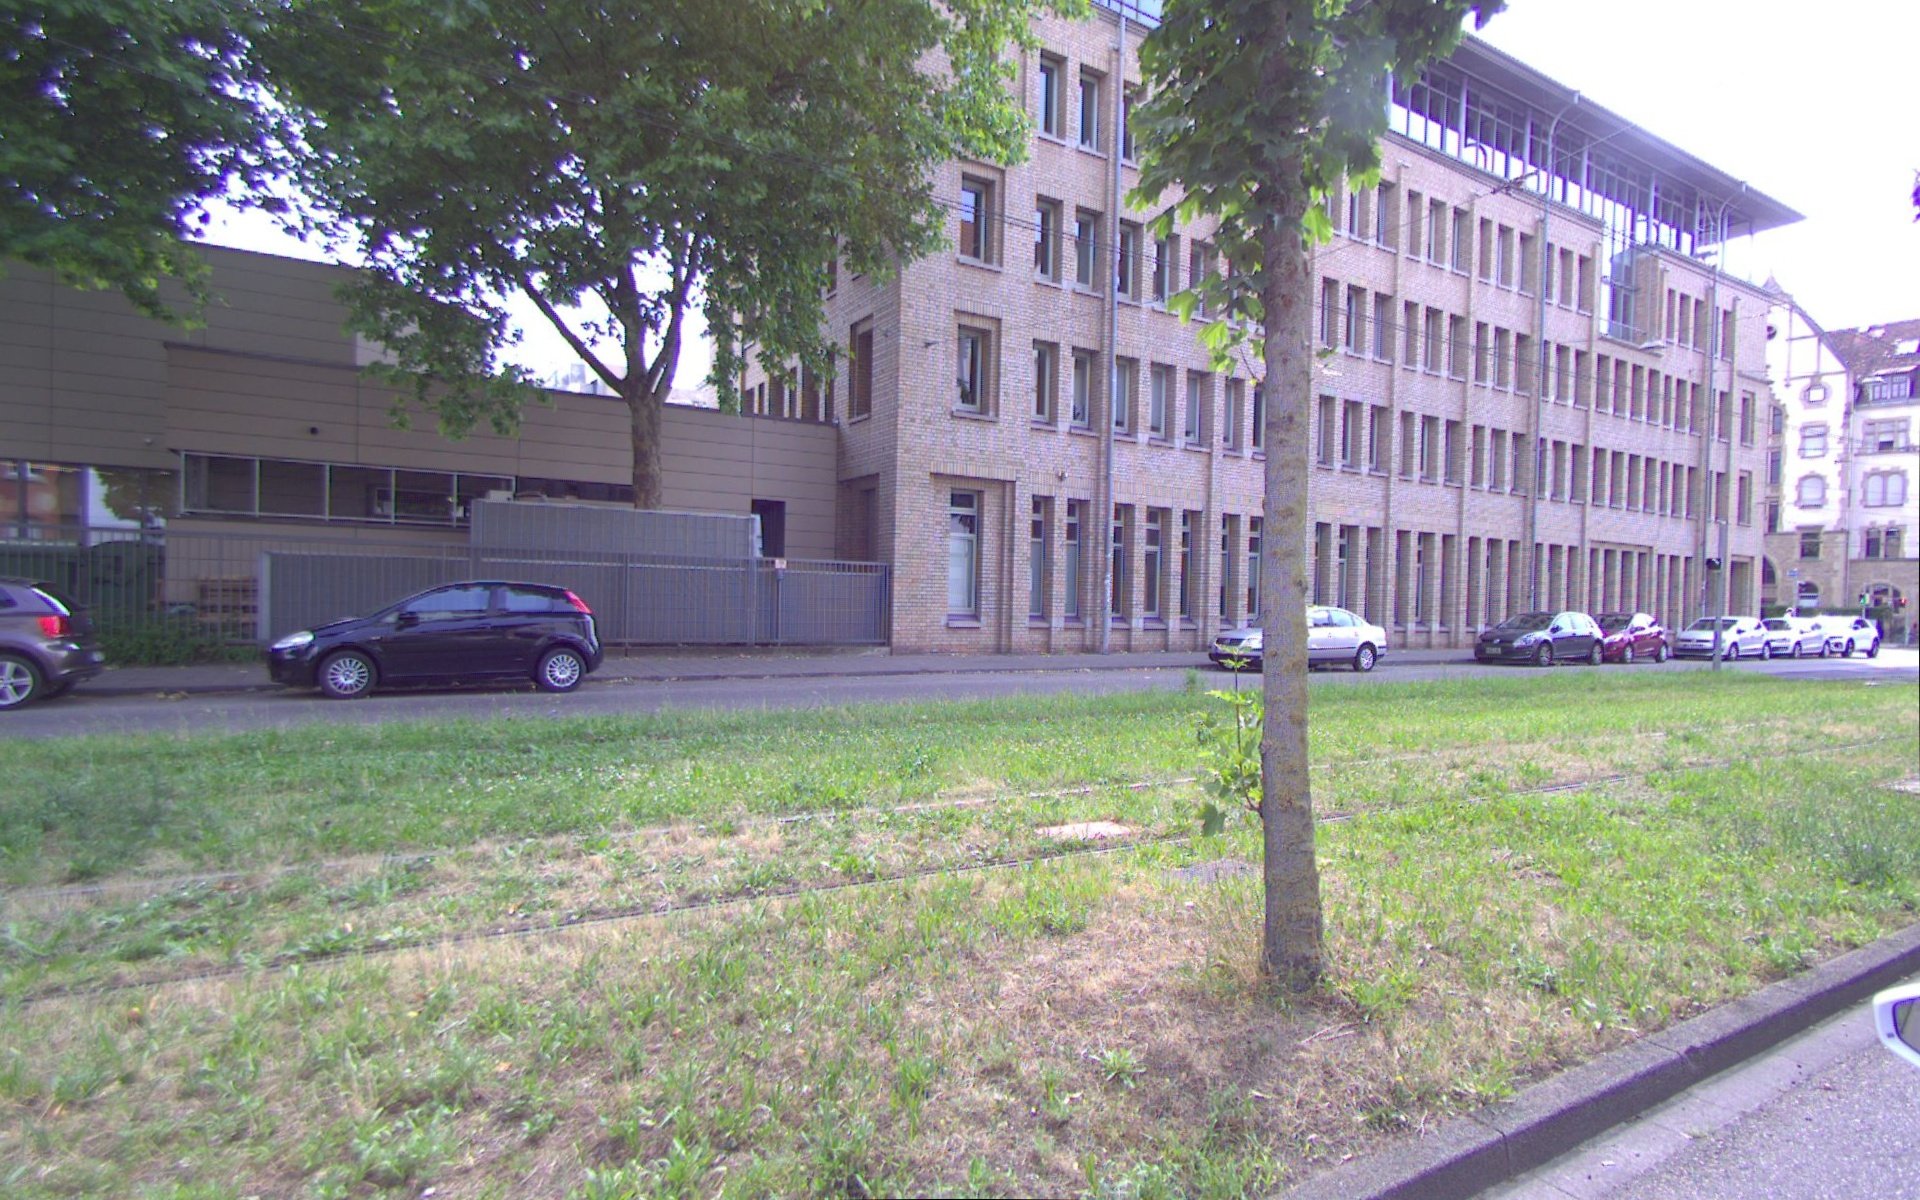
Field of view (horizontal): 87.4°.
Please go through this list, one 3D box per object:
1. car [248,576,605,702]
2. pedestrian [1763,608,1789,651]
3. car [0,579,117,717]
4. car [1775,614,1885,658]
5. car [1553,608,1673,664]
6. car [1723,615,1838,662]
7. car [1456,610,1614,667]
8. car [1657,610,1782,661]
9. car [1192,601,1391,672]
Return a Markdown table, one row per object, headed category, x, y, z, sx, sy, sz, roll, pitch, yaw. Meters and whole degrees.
| category | x | y | z | sx | sy | sz | roll | pitch | yaw |
| --- | --- | --- | --- | --- | --- | --- | --- | --- | --- |
| car | -6.970 | 0.487 | 13.454 | 3.950 | 1.472 | 1.795 | 1 | 0 | -28 |
| pedestrian | 35.972 | 1.285 | 44.270 | 0.749 | 1.819 | 0.957 | 2 | 1 | 34 |
| car | -11.609 | 0.477 | 10.648 | 3.857 | 1.445 | 1.546 | 1 | 0 | -31 |
| car | 33.385 | 1.380 | 38.539 | 4.207 | 1.555 | 1.924 | 1 | 0 | -30 |
| car | 19.566 | 1.054 | 30.089 | 3.507 | 1.551 | 1.575 | 1 | 0 | -30 |
| car | 29.632 | 1.387 | 36.271 | 3.967 | 1.551 | 1.924 | 1 | 0 | -30 |
| car | 15.795 | 1.037 | 27.552 | 4.189 | 1.415 | 1.924 | 1 | 0 | -30 |
| car | 25.305 | 1.171 | 33.448 | 4.160 | 1.551 | 1.842 | 1 | 0 | -30 |
| car | 7.434 | 0.793 | 22.406 | 4.431 | 1.415 | 1.707 | 1 | 0 | -30 |
